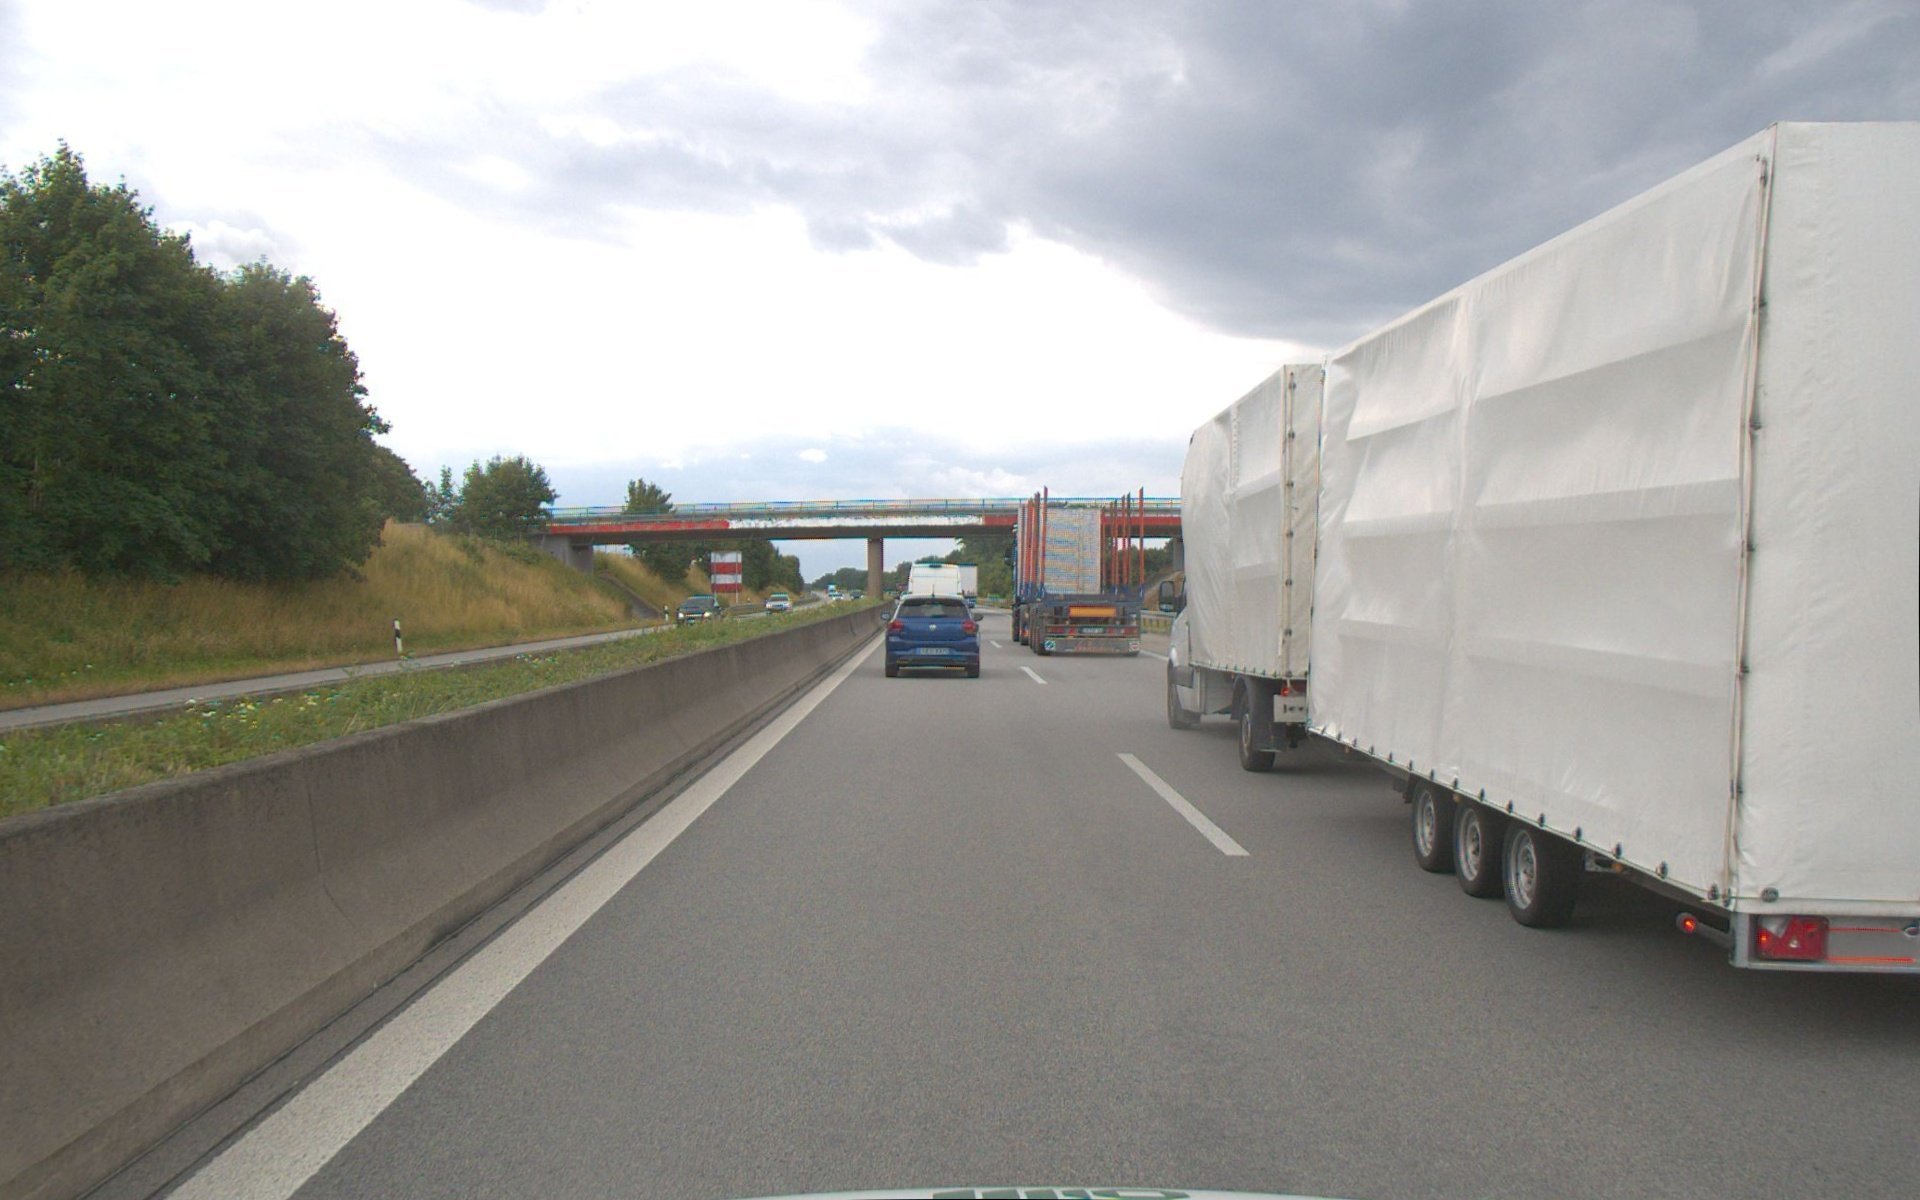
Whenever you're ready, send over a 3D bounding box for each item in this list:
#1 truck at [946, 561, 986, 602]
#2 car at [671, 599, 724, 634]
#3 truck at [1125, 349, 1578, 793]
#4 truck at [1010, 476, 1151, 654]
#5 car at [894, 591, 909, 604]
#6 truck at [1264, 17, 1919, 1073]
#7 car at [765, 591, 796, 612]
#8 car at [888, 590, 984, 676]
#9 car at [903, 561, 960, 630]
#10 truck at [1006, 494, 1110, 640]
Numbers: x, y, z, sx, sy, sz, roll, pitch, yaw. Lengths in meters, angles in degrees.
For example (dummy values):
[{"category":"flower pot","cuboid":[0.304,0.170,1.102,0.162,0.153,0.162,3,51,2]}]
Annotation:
[{"category":"truck","cuboid":[0.501,-1.721,157.951,3.049,3.754,9.315,-2,0,-4]},{"category":"car","cuboid":[-11.440,0.704,72.297,1.613,1.402,4.234,-2,0,-1]},{"category":"truck","cuboid":[3.303,-0.226,16.019,2.381,3.300,7.244,1,0,-2]},{"category":"truck","cuboid":[2.972,-0.886,43.992,2.619,4.116,11.104,0,1,-2]},{"category":"car","cuboid":[-7.843,-0.325,222.460,1.953,1.713,3.999,1,0,-1]},{"category":"truck","cuboid":[3.593,-0.177,8.764,2.366,3.278,7.140,1,0,-2]},{"category":"car","cuboid":[-13.418,0.082,124.033,1.857,1.487,4.541,-2,0,-1]},{"category":"car","cuboid":[-0.467,0.562,30.140,1.630,1.431,3.647,1,1,-2]},{"category":"car","cuboid":[-1.076,-0.171,63.044,2.087,2.526,5.838,0,0,-1]},{"category":"truck","cuboid":[2.849,-0.961,49.424,2.619,4.116,5.510,0,1,-2]}]
